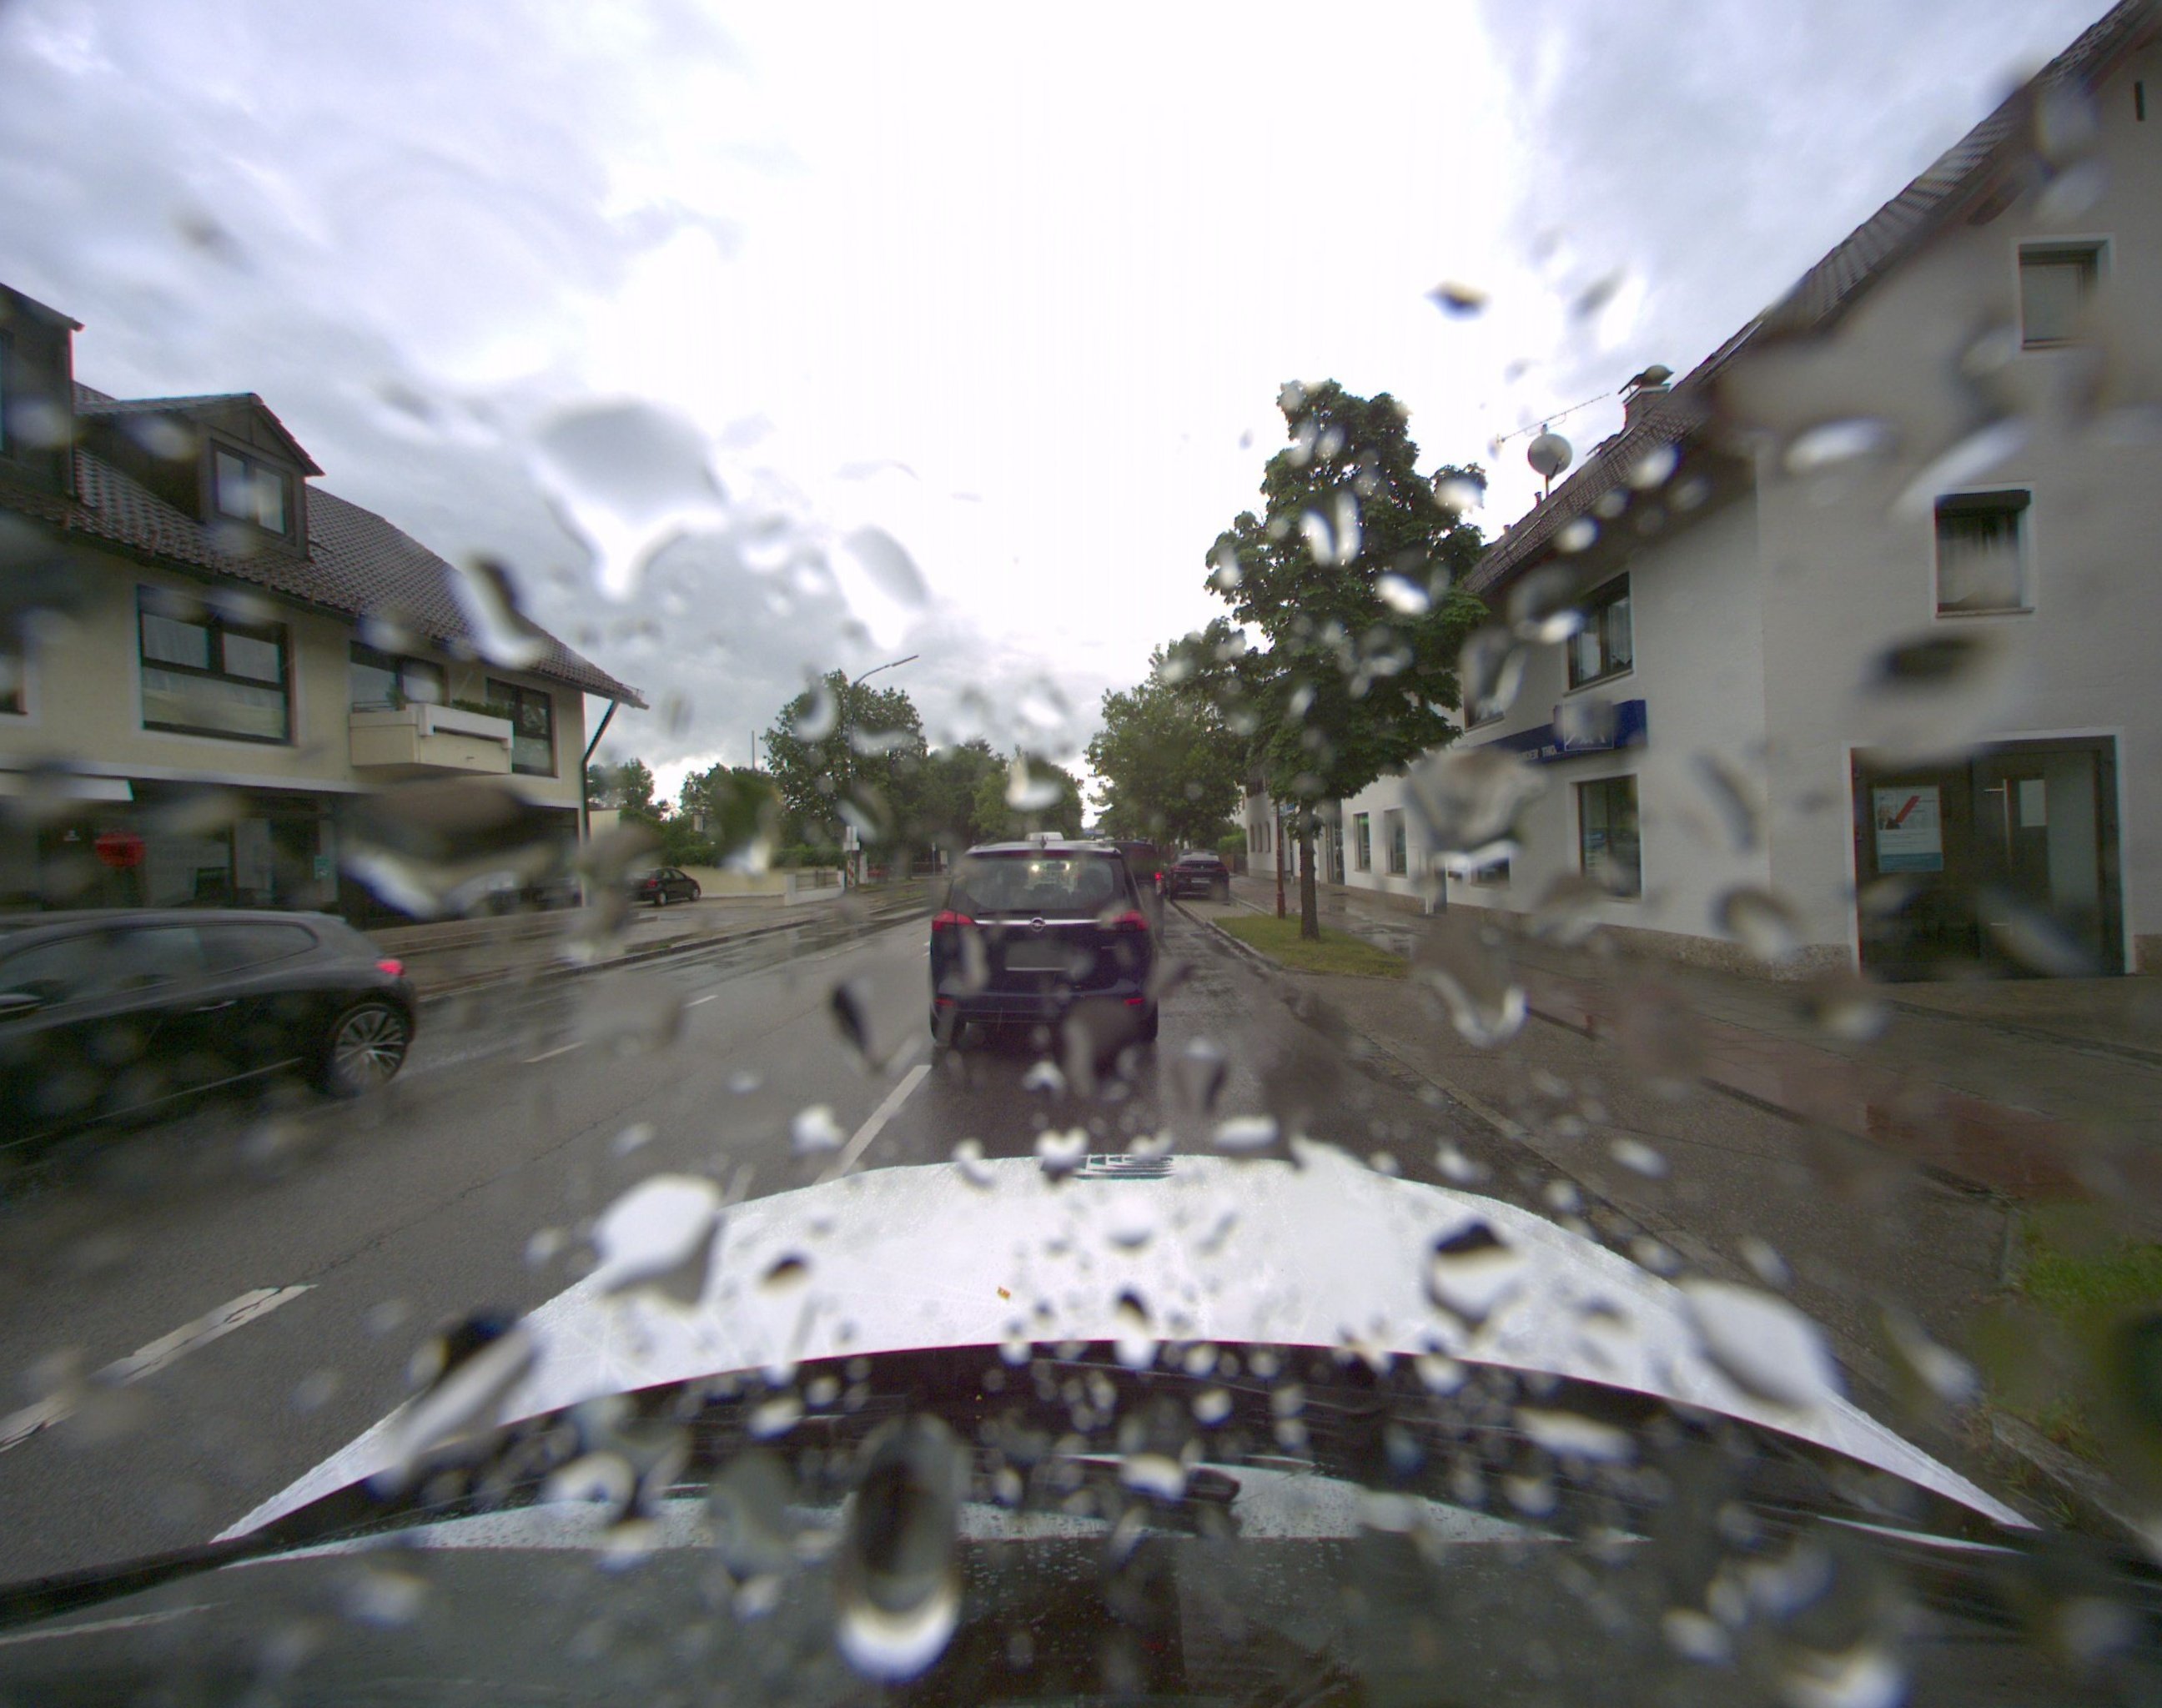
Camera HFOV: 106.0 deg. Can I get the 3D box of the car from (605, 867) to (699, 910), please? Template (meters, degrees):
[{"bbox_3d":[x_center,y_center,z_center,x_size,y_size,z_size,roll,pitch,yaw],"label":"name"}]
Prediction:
[{"bbox_3d":[-16.304,1.269,31.135,1.601,1.380,3.510,-3,0,2],"label":"car"}]

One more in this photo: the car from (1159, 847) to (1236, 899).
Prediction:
[{"bbox_3d":[3.800,0.598,27.277,2.110,1.581,3.936,0,0,1],"label":"car"}]

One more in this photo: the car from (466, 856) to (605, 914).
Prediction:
[{"bbox_3d":[-20.859,1.117,31.439,1.957,1.919,4.738,-3,0,1],"label":"car"}]

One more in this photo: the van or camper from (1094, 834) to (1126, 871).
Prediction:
[{"bbox_3d":[2.324,-0.108,64.476,2.351,2.665,5.374,-2,0,2],"label":"van or camper"}]

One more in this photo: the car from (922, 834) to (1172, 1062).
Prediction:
[{"bbox_3d":[-0.176,0.673,7.631,1.762,1.604,3.665,-1,0,2],"label":"car"}]

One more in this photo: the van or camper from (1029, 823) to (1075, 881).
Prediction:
[{"bbox_3d":[-1.490,-0.100,41.827,2.089,2.707,6.263,-2,0,-2],"label":"van or camper"}]

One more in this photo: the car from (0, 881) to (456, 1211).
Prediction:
[{"bbox_3d":[-5.899,0.968,4.341,1.989,1.407,3.885,-3,0,2],"label":"car"}]

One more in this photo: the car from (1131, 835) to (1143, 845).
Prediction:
[{"bbox_3d":[8.540,-2.094,125.292,1.624,1.378,3.624,-3,0,2],"label":"car"}]

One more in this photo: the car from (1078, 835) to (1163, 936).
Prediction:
[{"bbox_3d":[0.755,0.552,15.958,1.494,1.776,3.113,-1,0,2],"label":"car"}]

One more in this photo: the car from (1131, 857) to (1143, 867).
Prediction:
[{"bbox_3d":[7.942,1.088,115.979,1.624,1.378,3.624,-1,-1,2],"label":"car"}]
